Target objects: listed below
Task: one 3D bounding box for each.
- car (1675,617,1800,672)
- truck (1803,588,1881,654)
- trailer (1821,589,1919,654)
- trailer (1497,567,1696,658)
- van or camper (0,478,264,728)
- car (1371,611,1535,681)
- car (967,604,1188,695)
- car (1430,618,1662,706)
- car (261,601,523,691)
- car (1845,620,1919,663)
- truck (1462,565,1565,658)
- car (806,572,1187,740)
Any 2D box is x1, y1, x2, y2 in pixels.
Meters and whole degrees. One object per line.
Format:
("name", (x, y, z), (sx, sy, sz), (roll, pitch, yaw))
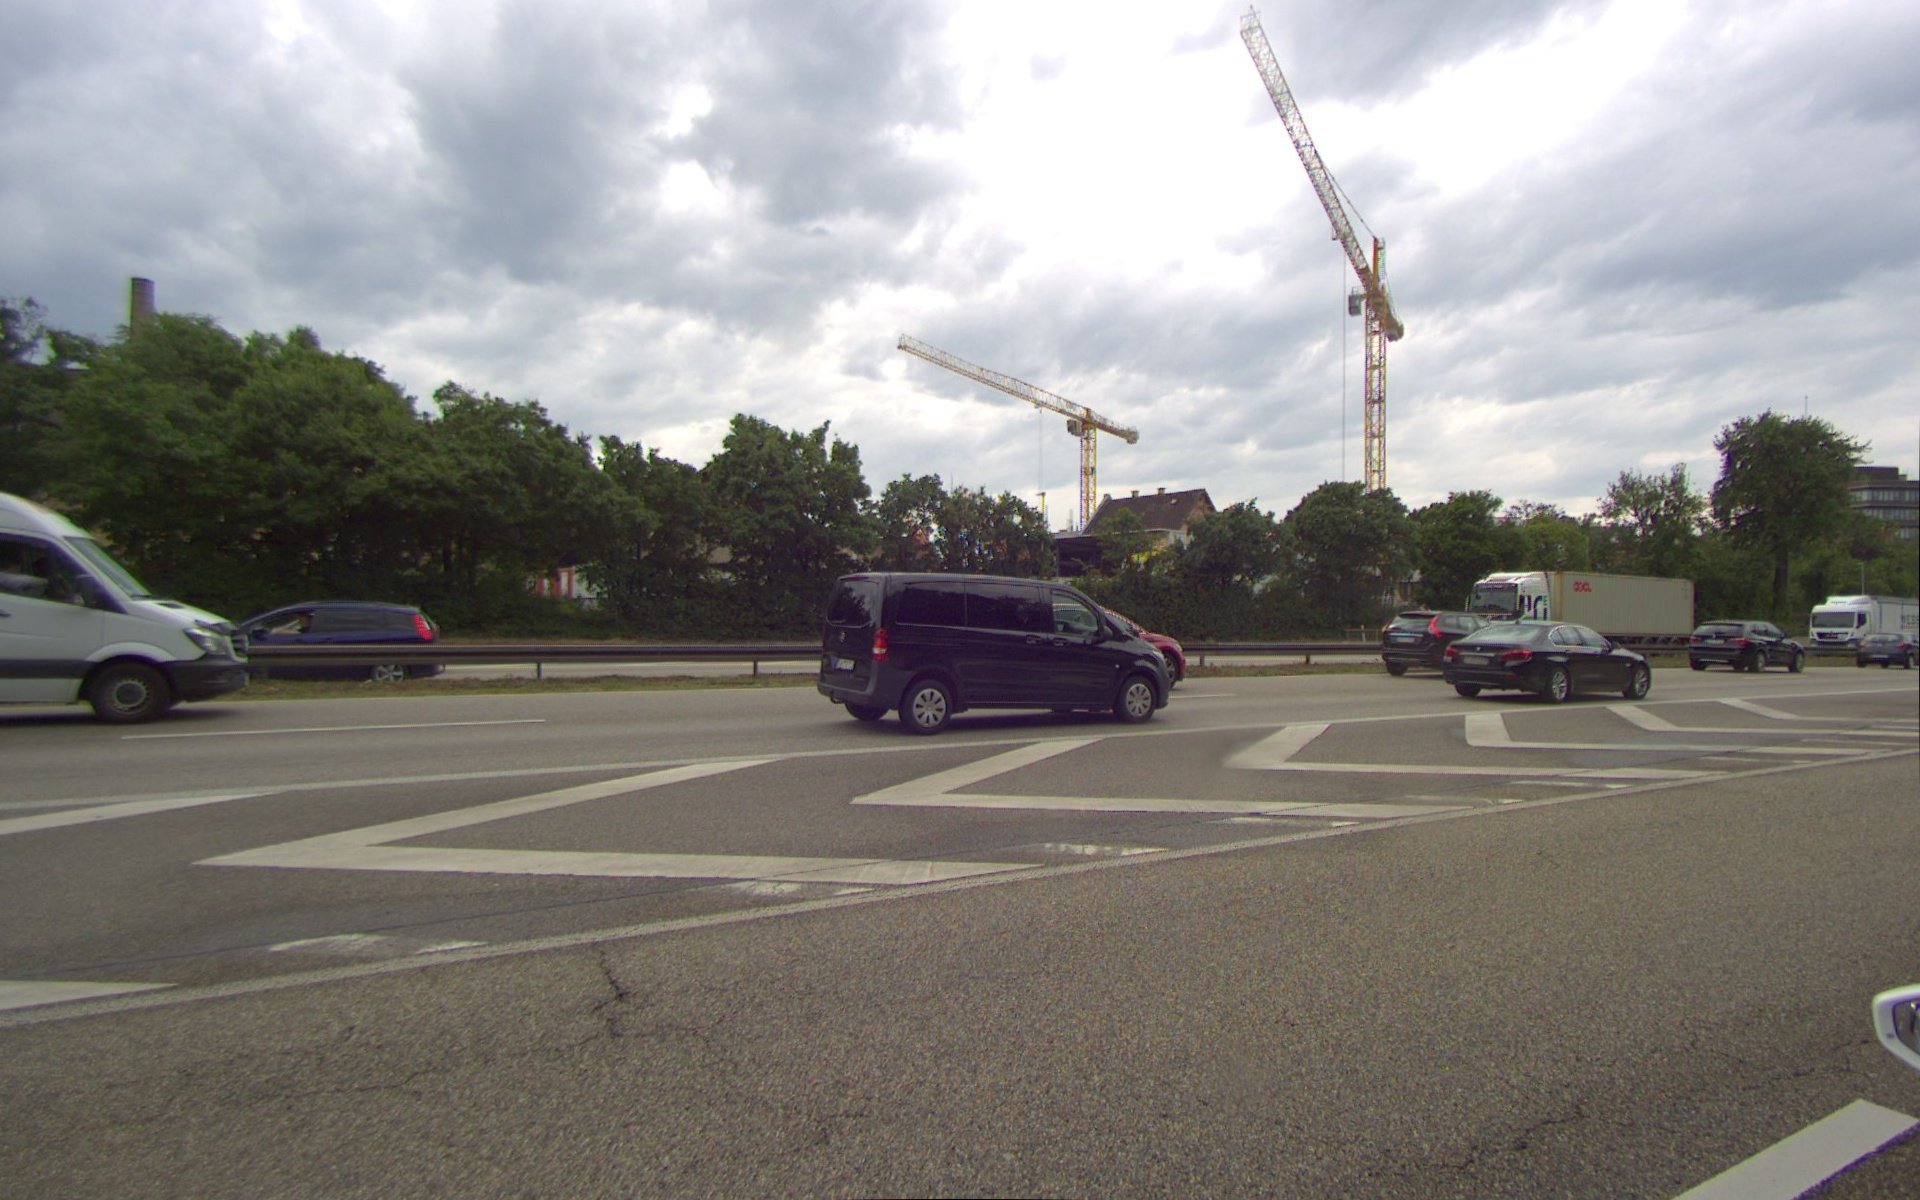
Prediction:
("car", (25.744, 1.443, 33.223), (4.257, 1.704, 1.881), (1, -1, -31))
("truck", (55.879, 1.334, 63.640), (3.953, 4.043, 2.584), (1, -1, -30))
("trailer", (62.317, 1.493, 67.448), (13.622, 4.035, 2.581), (1, -1, -31))
("trailer", (31.560, 0.698, 49.457), (12.917, 4.082, 2.387), (1, -1, -29))
("van or camper", (-11.809, 0.017, 10.859), (6.878, 2.656, 2.038), (1, -1, -32))
("car", (12.759, 1.152, 25.944), (4.216, 1.657, 1.744), (1, 0, -30))
("car", (2.257, 0.908, 19.138), (3.896, 1.588, 1.759), (1, -1, -29))
("car", (11.151, 1.112, 19.032), (4.610, 1.476, 1.705), (1, 0, -29))
("car", (-10.990, 0.857, 19.633), (4.257, 1.580, 1.983), (1, -1, -32))
("car", (37.954, 1.667, 40.928), (3.962, 1.629, 1.679), (1, 1, -31))
("truck", (25.350, 0.558, 45.985), (3.951, 4.074, 2.396), (1, -1, -29))
("car", (0.560, 0.668, 13.319), (4.757, 1.876, 1.983), (1, 0, -31))
